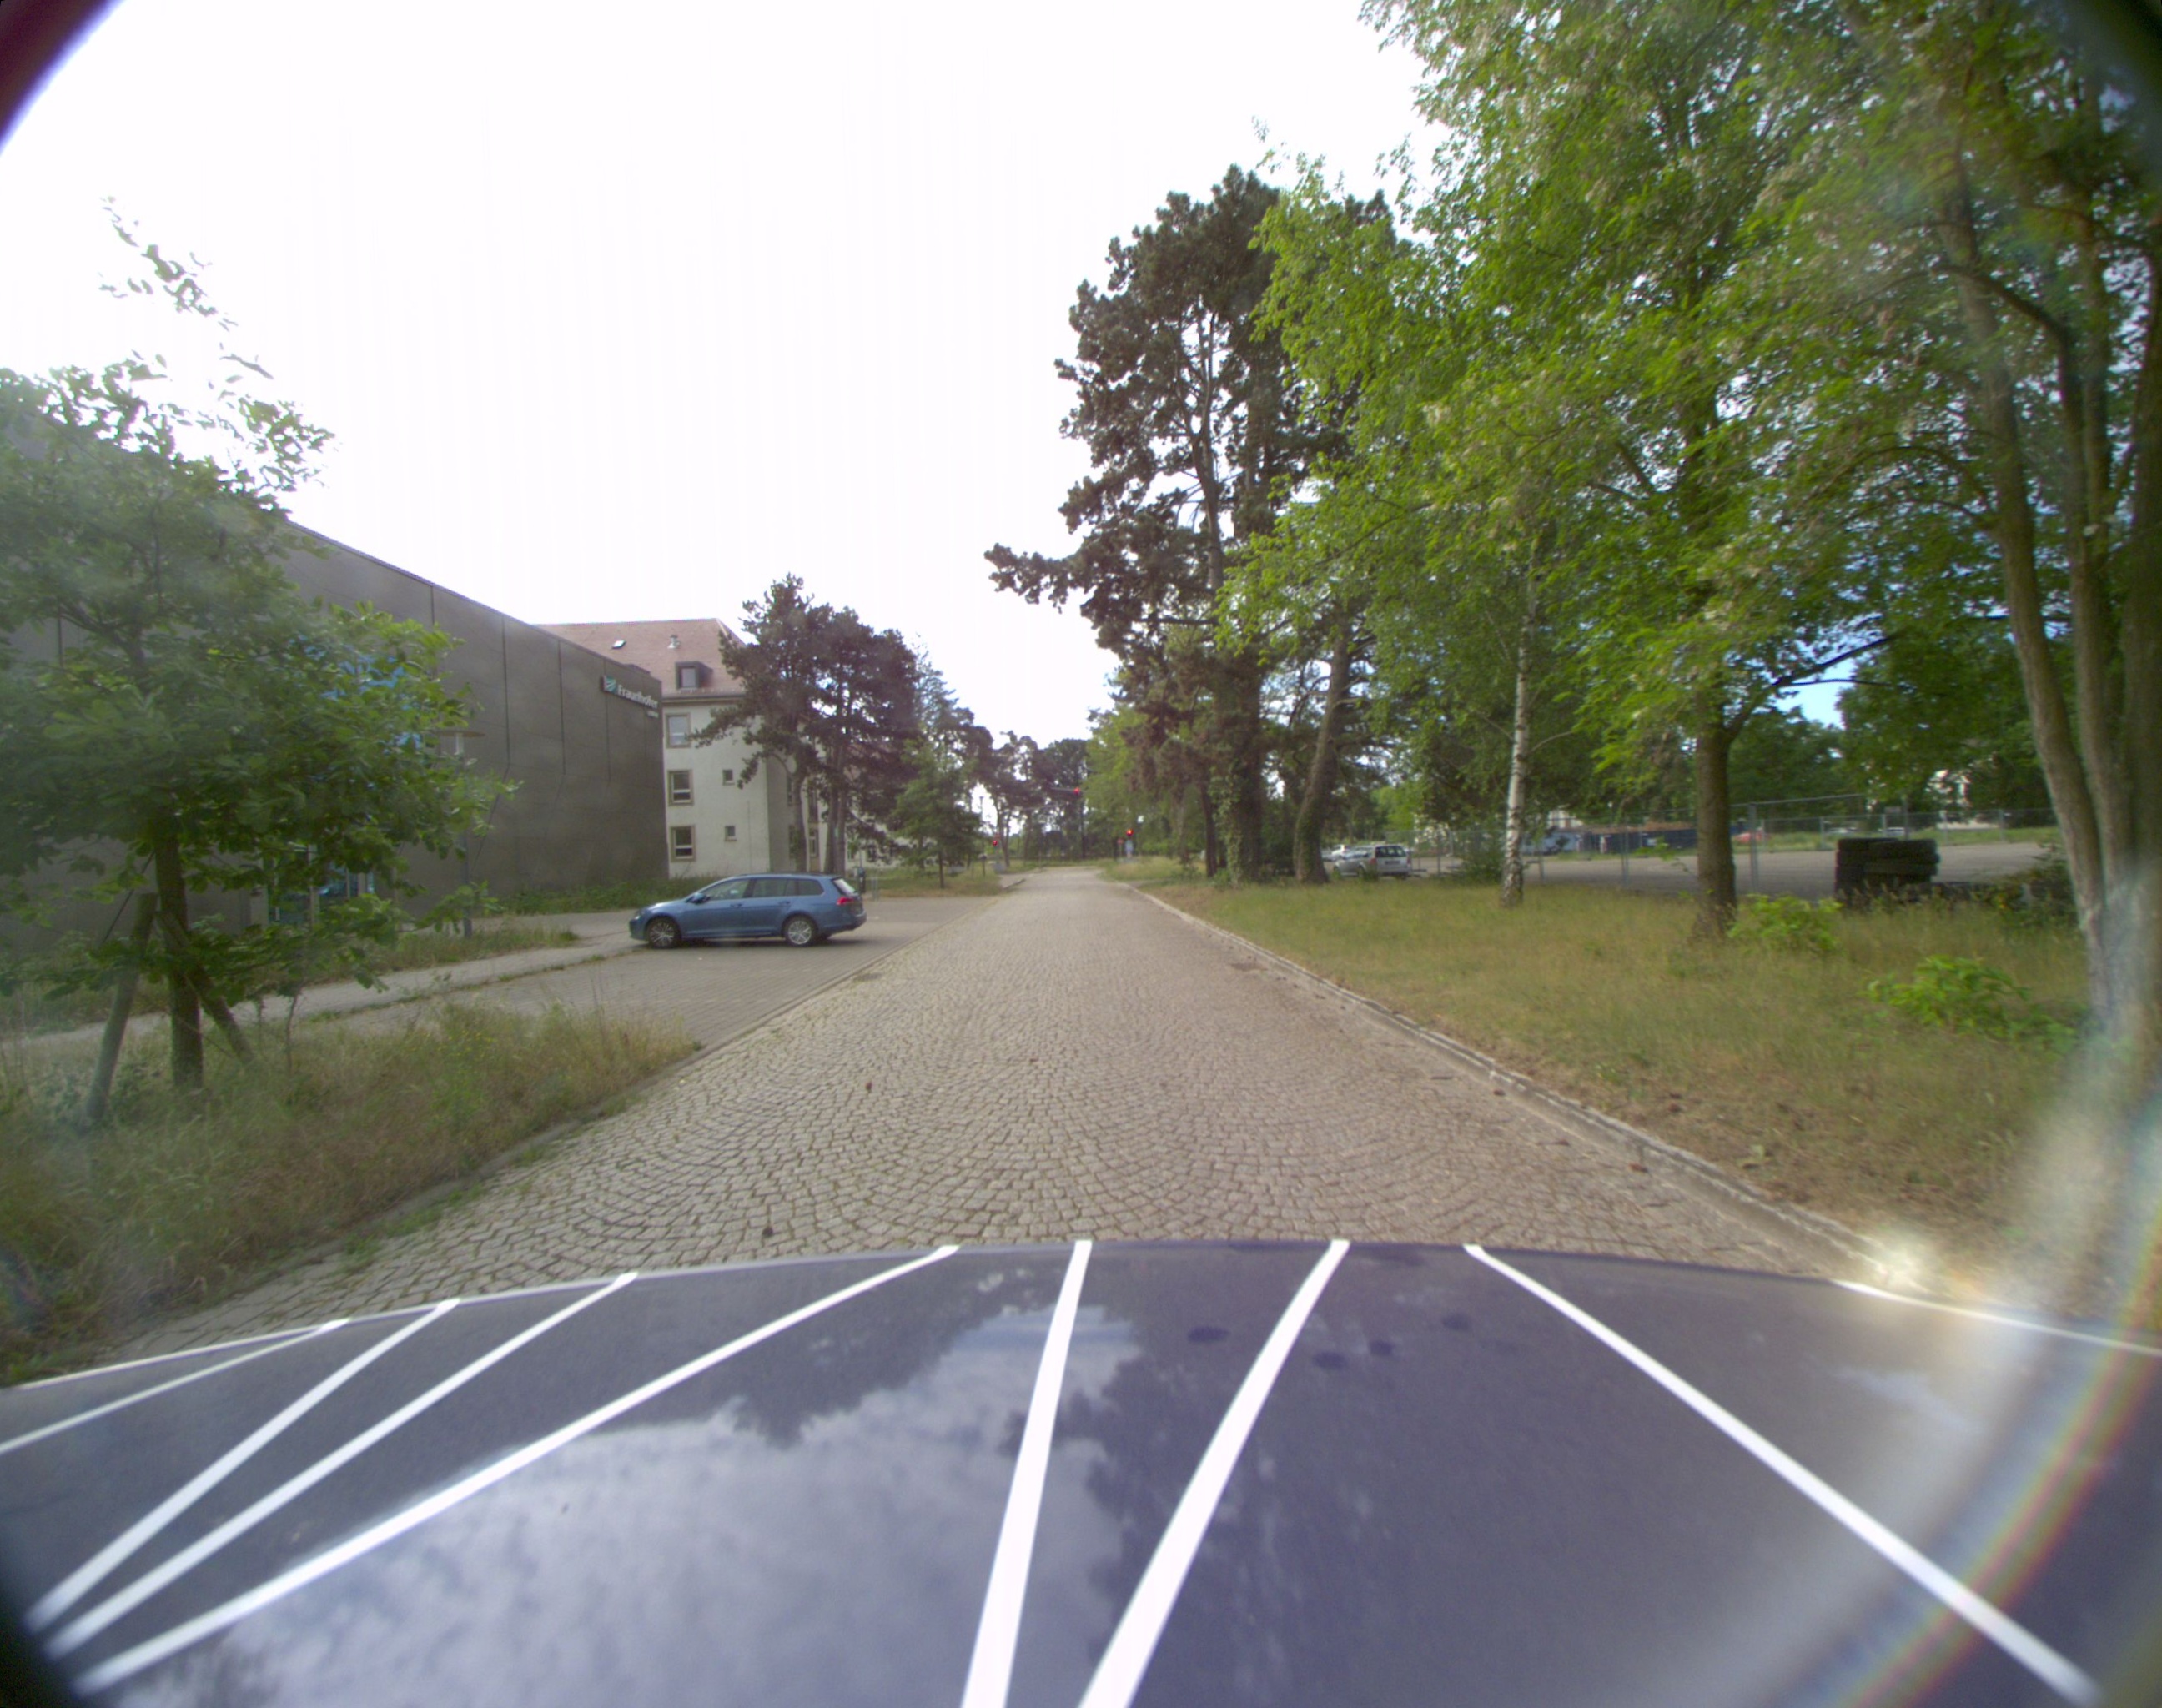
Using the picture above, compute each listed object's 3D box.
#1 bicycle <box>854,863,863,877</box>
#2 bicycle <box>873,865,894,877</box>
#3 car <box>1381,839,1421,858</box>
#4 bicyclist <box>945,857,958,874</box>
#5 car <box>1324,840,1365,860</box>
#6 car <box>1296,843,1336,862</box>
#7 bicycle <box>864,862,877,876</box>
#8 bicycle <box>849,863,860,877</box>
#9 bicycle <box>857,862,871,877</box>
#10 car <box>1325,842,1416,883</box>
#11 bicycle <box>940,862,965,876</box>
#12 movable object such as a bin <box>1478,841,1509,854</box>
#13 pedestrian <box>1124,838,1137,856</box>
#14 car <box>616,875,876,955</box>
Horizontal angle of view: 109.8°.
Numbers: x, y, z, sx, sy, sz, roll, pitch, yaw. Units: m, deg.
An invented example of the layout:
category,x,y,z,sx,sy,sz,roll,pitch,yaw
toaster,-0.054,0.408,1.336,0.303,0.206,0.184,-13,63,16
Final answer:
category,x,y,z,sx,sy,sz,roll,pitch,yaw
bicycle,-21.955,1.561,75.112,0.482,1.324,1.837,-2,0,-6
bicycle,-19.091,1.636,73.618,1.836,1.079,0.572,-2,2,2
car,29.080,-0.453,69.136,1.737,1.512,4.114,-2,-2,-1
bicyclist,-12.605,1.131,73.987,0.918,1.626,0.962,-3,1,-24
car,23.695,-0.309,68.526,1.840,1.568,4.584,-2,-2,-4
car,21.095,-0.103,68.281,1.840,1.441,4.655,-2,-2,-4
bicycle,-20.833,1.514,75.243,0.572,1.324,1.839,-2,0,7
bicycle,-22.387,1.589,75.113,0.572,1.324,1.837,-2,0,-6
bicycle,-21.458,1.528,75.112,0.572,1.324,1.839,-2,0,7
car,11.528,0.321,30.592,1.720,1.430,4.465,-2,0,-4
bicycle,-12.511,1.494,74.007,2.166,1.268,0.962,-2,0,-24
movable object such as a bin,30.448,-0.489,56.062,1.041,0.927,1.934,-2,0,-8
pedestrian,4.190,-0.598,63.988,0.883,1.509,0.822,-2,1,13
car,-6.729,1.201,15.686,4.535,1.435,1.823,0,0,-4
